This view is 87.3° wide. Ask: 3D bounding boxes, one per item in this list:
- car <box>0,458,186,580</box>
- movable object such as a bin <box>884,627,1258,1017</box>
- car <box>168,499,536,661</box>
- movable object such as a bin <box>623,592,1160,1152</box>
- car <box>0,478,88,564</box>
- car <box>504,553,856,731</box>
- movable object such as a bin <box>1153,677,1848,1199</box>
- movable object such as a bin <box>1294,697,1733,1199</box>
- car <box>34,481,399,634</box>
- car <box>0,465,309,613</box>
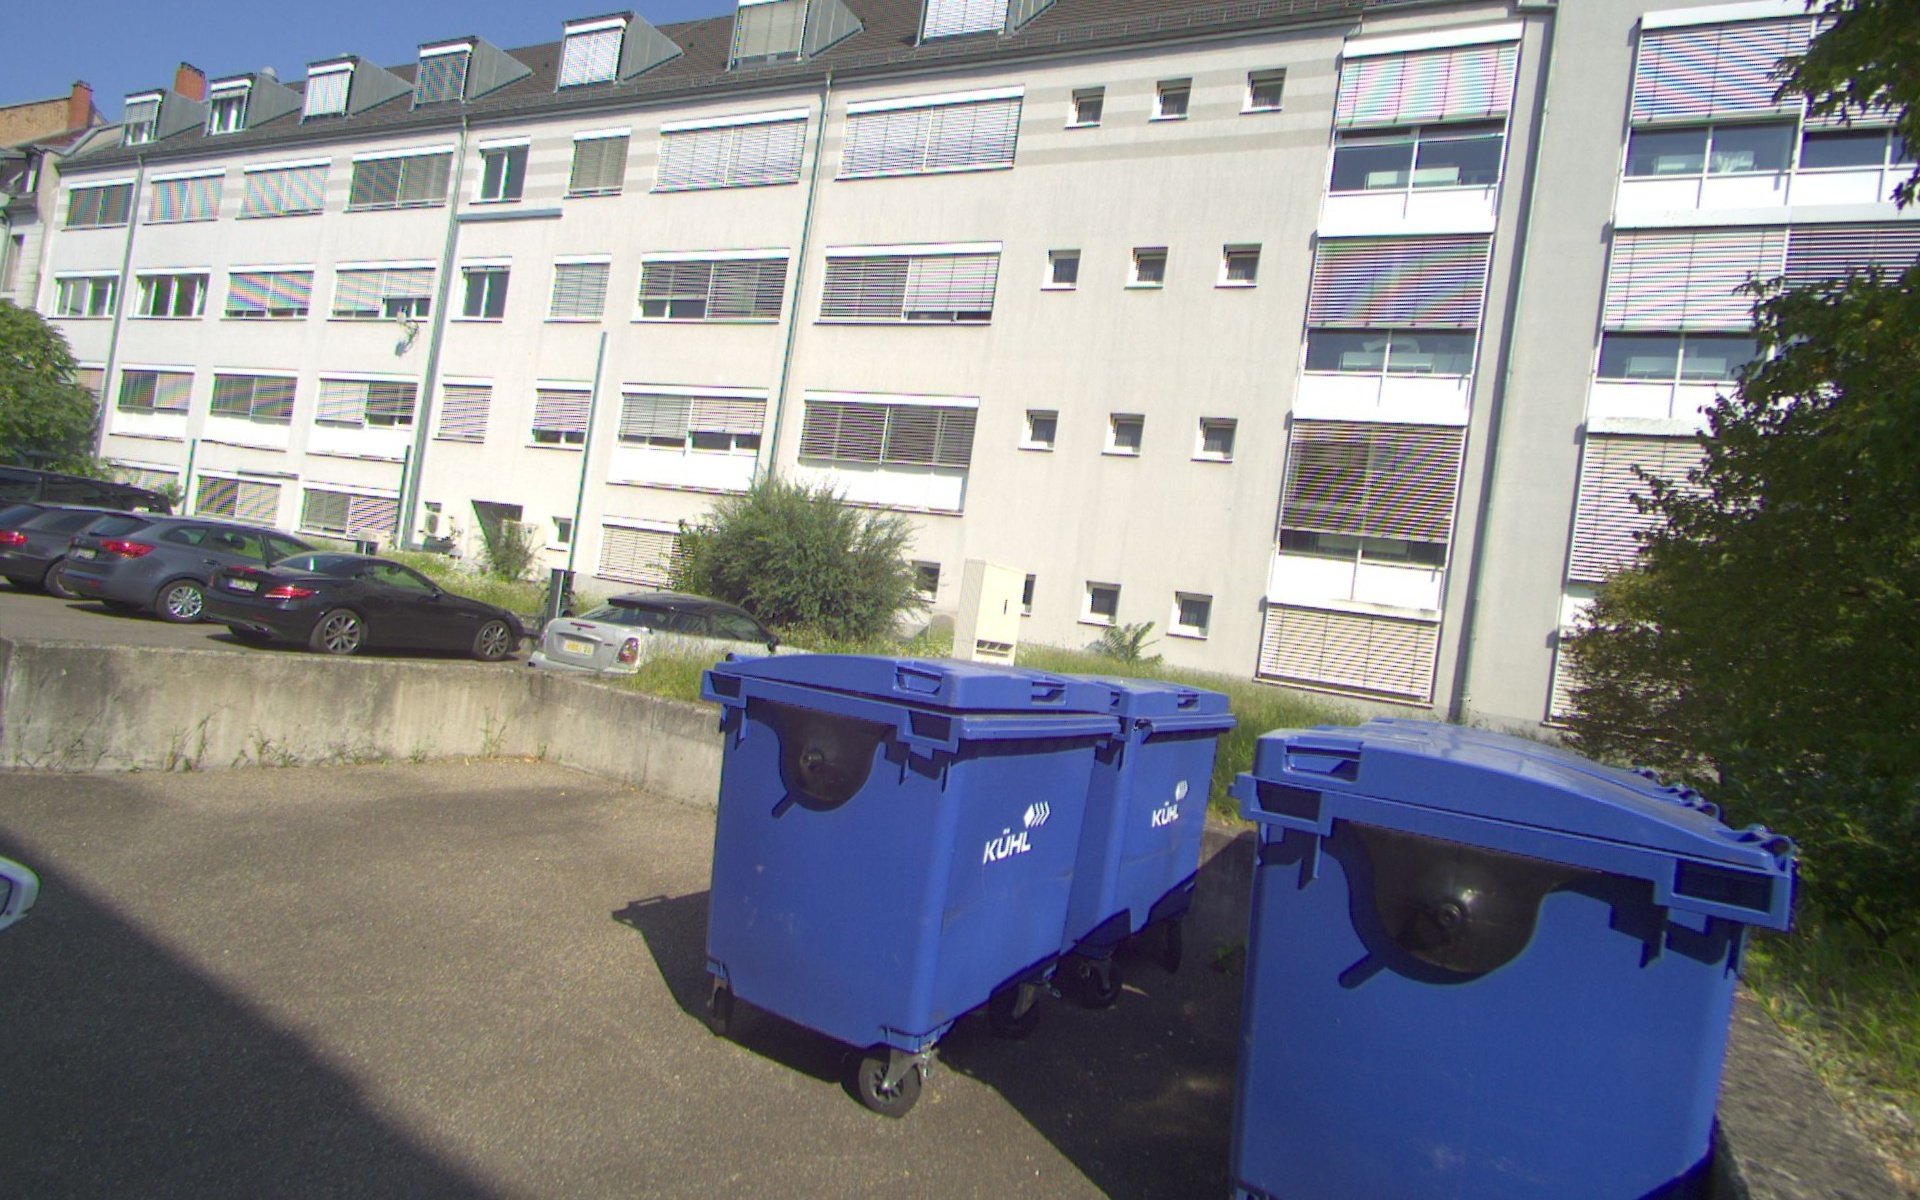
[{"bbox_3d":[-17.099,-1.580,18.138,1.849,1.815,4.517,7,-2,22],"label":"car"},{"bbox_3d":[0.545,0.914,4.613,1.099,1.355,1.236,7,-2,35],"label":"movable object such as a bin"},{"bbox_3d":[-8.078,-0.159,13.798,1.862,1.606,3.815,7,-2,22],"label":"car"},{"bbox_3d":[-0.166,0.779,3.498,1.174,1.355,1.303,7,-2,31],"label":"movable object such as a bin"},{"bbox_3d":[-19.689,-1.750,19.339,1.742,1.499,3.946,7,-2,22],"label":"car"},{"bbox_3d":[-3.041,0.441,11.621,1.772,1.565,3.622,7,2,29],"label":"car"},{"bbox_3d":[1.268,0.971,2.562,1.081,1.355,1.313,7,-2,28],"label":"movable object such as a bin"},{"bbox_3d":[1.952,1.120,3.699,1.058,1.355,1.230,7,-2,27],"label":"movable object such as a bin"},{"bbox_3d":[-10.934,-0.538,15.124,1.846,1.606,3.875,7,-2,26],"label":"car"},{"bbox_3d":[-13.364,-0.927,16.413,1.740,1.710,4.129,7,-2,28],"label":"car"}]
